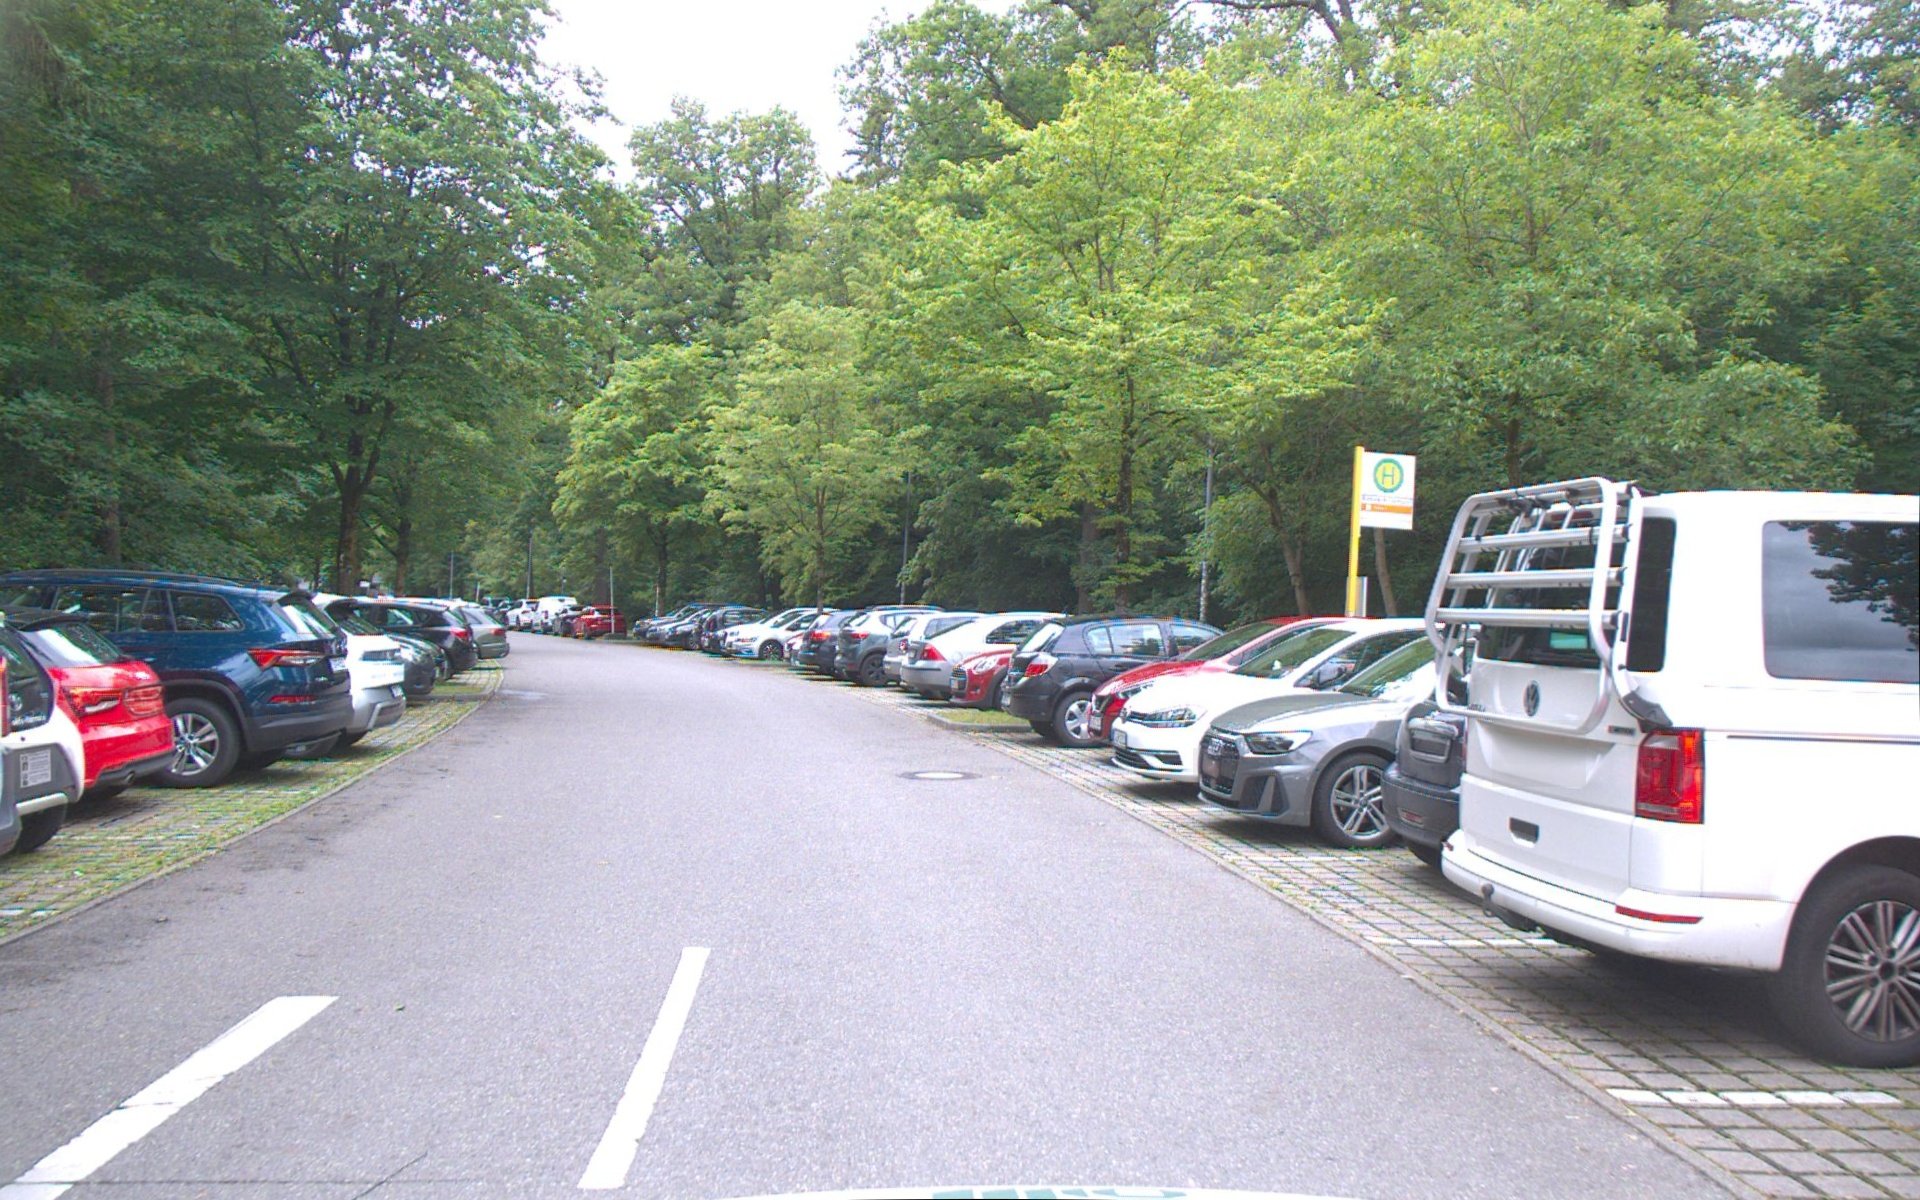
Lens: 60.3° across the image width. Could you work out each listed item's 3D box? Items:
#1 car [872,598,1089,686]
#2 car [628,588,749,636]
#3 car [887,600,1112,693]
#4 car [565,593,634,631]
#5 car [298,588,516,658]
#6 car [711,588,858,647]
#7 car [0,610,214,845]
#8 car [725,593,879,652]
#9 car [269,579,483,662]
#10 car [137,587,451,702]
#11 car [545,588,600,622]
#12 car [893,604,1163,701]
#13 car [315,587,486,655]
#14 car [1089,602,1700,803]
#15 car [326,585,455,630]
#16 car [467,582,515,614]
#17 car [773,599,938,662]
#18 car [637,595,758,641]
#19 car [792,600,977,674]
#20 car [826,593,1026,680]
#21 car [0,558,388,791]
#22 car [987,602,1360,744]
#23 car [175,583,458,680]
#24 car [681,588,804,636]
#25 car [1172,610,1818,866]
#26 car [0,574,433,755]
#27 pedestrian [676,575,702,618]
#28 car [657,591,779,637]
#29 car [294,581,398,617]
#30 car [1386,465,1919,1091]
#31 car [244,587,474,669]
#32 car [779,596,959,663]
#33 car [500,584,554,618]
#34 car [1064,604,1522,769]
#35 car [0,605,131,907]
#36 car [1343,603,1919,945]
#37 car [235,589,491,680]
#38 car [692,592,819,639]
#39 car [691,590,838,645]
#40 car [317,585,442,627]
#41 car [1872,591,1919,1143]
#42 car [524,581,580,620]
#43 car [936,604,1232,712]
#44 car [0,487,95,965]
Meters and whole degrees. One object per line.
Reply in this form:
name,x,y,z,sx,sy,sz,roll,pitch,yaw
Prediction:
car,0.367,0.788,31.376,3.780,1.573,1.723,1,0,-16
car,-10.268,0.460,62.529,4.207,1.695,1.945,1,0,-23
car,0.672,0.807,29.172,3.639,1.537,1.745,1,0,-14
car,-15.638,0.513,71.608,1.967,1.505,4.934,1,0,-24
car,-12.478,0.510,37.589,4.566,1.504,2.085,1,0,-18
car,-5.159,0.521,48.438,3.946,1.586,1.968,1,1,-18
car,-7.398,0.810,11.211,3.914,1.470,1.819,0,0,-10
car,-4.401,0.614,46.029,3.920,1.509,1.872,1,1,-22
car,-12.376,0.425,35.224,4.169,1.676,1.959,1,0,-19
car,-9.347,0.603,23.535,3.920,1.517,1.701,0,1,-15
car,-18.008,0.217,76.672,1.703,1.447,4.252,1,0,-24
car,1.062,0.837,26.824,4.054,1.487,1.859,1,0,-12
car,-14.303,0.529,42.490,3.889,1.656,1.993,1,0,-11
car,3.591,0.835,14.115,4.681,1.501,1.850,1,1,-7
car,-20.053,0.255,58.280,4.204,1.512,2.045,1,0,-21
car,-27.656,-0.134,97.479,1.867,1.777,4.906,1,0,-26
car,-2.631,0.780,41.631,3.747,1.466,1.855,1,1,-26
car,-9.547,0.656,60.153,3.941,1.579,1.958,1,0,-28
car,-1.670,0.806,36.276,3.711,1.507,1.764,1,1,-19
car,-0.722,0.735,33.564,3.705,1.617,1.942,1,1,-15
car,-7.208,0.542,13.592,4.342,1.724,2.167,2,1,-8
car,2.416,0.825,19.240,3.914,1.509,1.918,1,0,-10
car,-10.629,0.527,27.624,4.161,1.499,1.714,1,-1,-14
car,-7.299,0.406,55.520,3.773,1.558,1.839,0,0,-22
car,3.678,0.935,11.744,3.913,1.509,1.874,3,-1,-8
car,-7.526,0.596,16.087,4.275,1.626,2.026,1,0,-10
pedestrian,-11.418,-0.148,69.633,0.807,1.756,0.996,2,0,-25
car,-8.489,0.492,57.961,3.930,1.501,1.940,1,0,-21
car,-29.186,-0.030,78.597,4.459,1.612,1.911,1,0,-26
car,4.373,0.677,6.783,4.560,2.056,2.081,3,1,-7
car,-11.821,0.542,32.792,4.167,1.560,1.754,1,0,-18
car,-2.155,0.685,38.857,3.870,1.435,1.869,1,1,-18
car,-22.822,0.027,87.052,1.764,1.691,4.676,1,0,-27
car,3.304,0.848,16.798,4.151,1.506,1.915,1,0,-10
car,-6.507,0.804,8.973,3.162,1.492,1.654,0,2,-4
car,4.321,0.949,9.502,3.653,1.581,1.843,3,2,-8
car,-10.816,0.619,30.294,4.161,1.557,1.999,1,0,-14
car,-6.601,0.497,53.403,3.771,1.483,1.798,1,0,-20
car,-6.007,0.541,50.810,4.129,1.538,1.881,1,1,-22
car,-22.077,0.234,62.927,4.313,1.512,1.875,1,0,-27
car,4.741,0.880,4.020,3.915,1.582,1.947,3,1,0
car,-20.132,0.013,81.510,1.723,1.811,4.513,1,0,-26
car,1.780,0.837,24.257,3.919,1.475,1.934,1,0,-14
car,-6.379,0.486,6.359,4.987,1.949,1.976,1,0,-6
